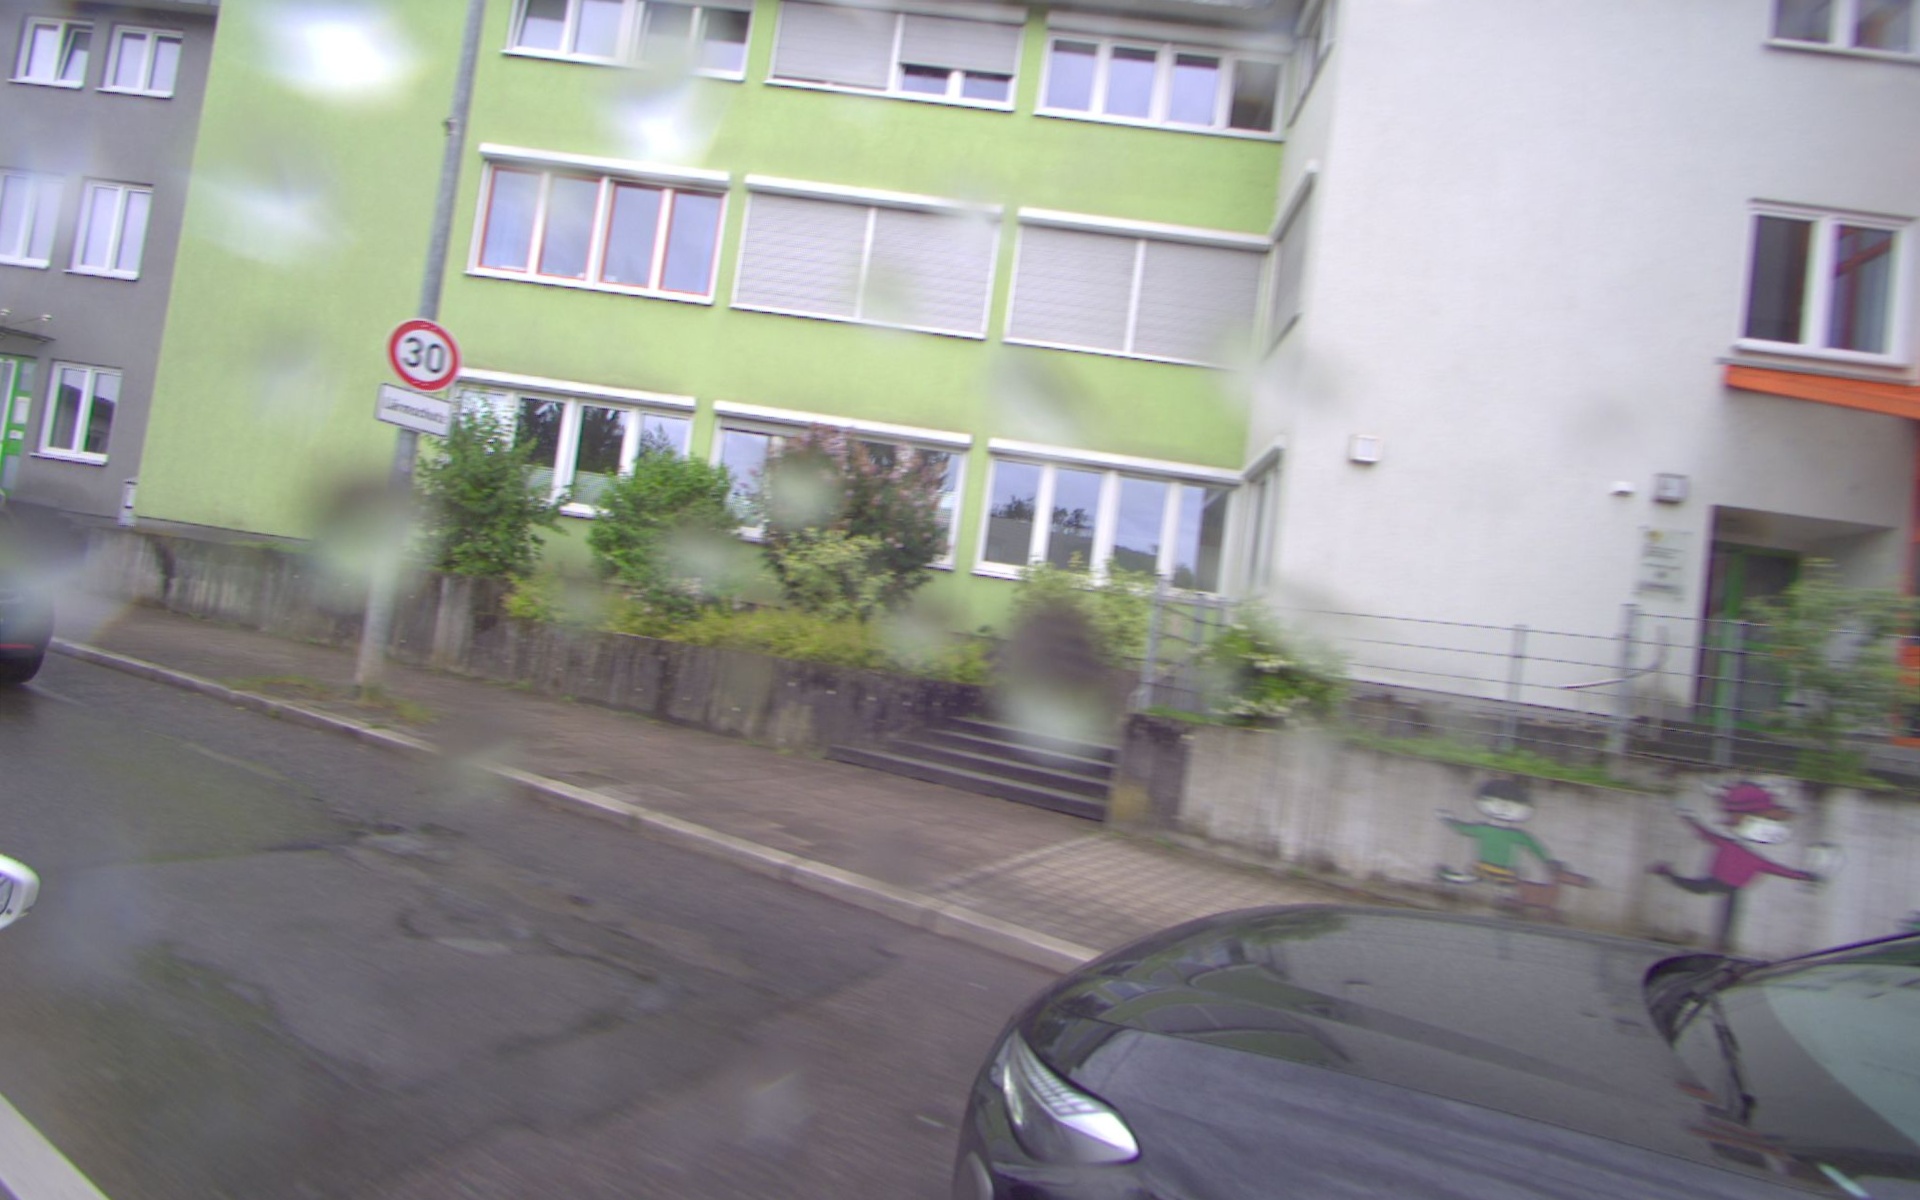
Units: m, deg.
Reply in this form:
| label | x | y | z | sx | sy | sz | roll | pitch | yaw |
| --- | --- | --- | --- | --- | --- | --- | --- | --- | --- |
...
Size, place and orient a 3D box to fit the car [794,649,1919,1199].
| label | x | y | z | sx | sy | sz | roll | pitch | yaw |
| --- | --- | --- | --- | --- | --- | --- | --- | --- | --- |
| car | 2.178 | 1.084 | 1.236 | 4.663 | 1.440 | 1.870 | 5 | -4 | 33 |

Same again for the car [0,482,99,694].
| label | x | y | z | sx | sy | sz | roll | pitch | yaw |
| --- | --- | --- | --- | --- | --- | --- | --- | --- | --- |
| car | -8.642 | -0.346 | 7.544 | 3.929 | 1.465 | 1.763 | 7 | -3 | 26 |
